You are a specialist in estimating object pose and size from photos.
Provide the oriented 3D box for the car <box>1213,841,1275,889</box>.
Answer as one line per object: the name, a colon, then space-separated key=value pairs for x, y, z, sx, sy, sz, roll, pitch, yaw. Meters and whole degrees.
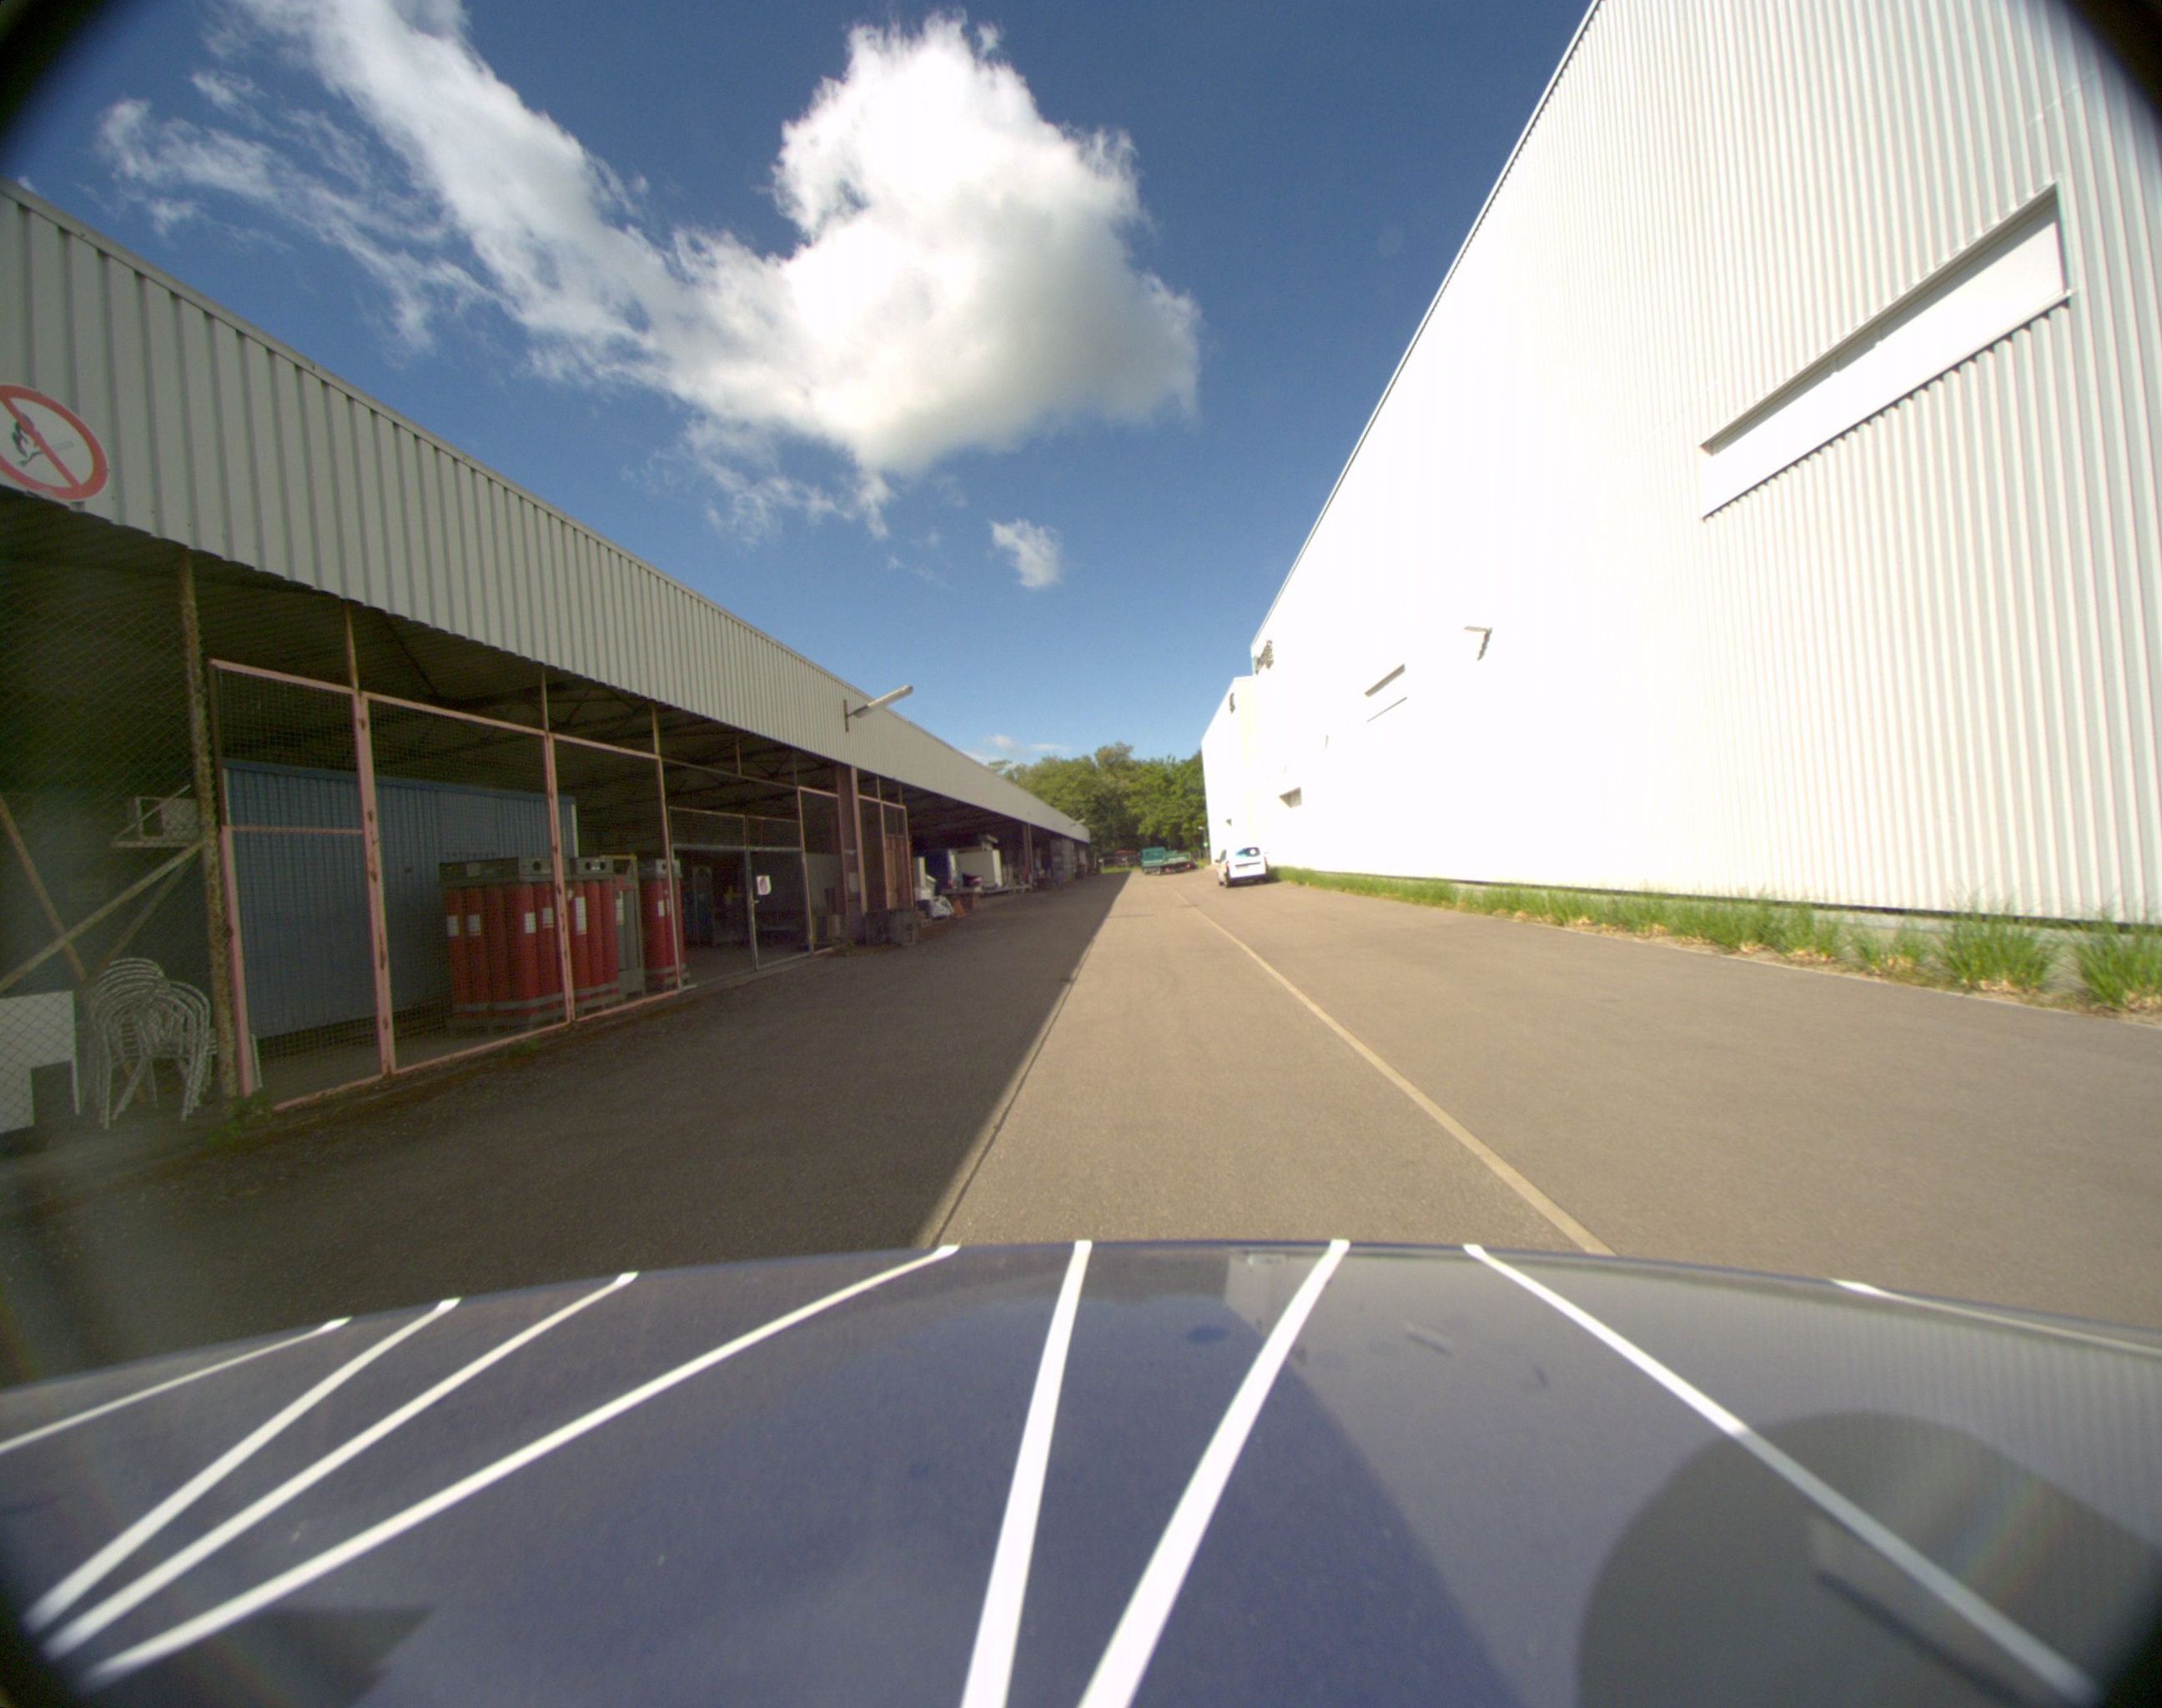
car: x=7.120 y=0.453 z=33.643 sx=1.933 sy=1.779 sz=4.599 roll=-6 pitch=-1 yaw=4

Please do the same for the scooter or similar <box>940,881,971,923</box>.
scooter or similar: x=-3.867 y=1.462 z=23.463 sx=0.521 sy=1.128 sz=1.592 roll=-4 pitch=1 yaw=4

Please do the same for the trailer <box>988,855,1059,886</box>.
trailer: x=-4.221 y=1.224 z=56.506 sx=4.827 sy=1.985 sz=2.048 roll=-3 pitch=0 yaw=7

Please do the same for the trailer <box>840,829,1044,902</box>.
trailer: x=-7.371 y=0.639 z=40.922 sx=10.315 sy=3.276 sz=2.676 roll=-3 pitch=0 yaw=5

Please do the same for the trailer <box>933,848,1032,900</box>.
trailer: x=-4.899 y=0.988 z=38.212 sx=4.551 sy=2.321 sz=1.689 roll=-3 pitch=0 yaw=5

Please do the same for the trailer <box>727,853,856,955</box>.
trailer: x=-6.848 y=1.092 z=18.352 sx=1.581 sy=2.130 sz=3.522 roll=-3 pitch=0 yaw=2

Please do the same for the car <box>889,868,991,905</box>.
car: x=-6.566 y=1.492 z=35.734 sx=4.354 sy=1.425 sz=1.865 roll=-3 pitch=0 yaw=1

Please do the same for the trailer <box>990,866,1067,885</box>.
trailer: x=-4.095 y=1.688 z=59.844 sx=5.747 sy=1.126 sz=2.009 roll=-4 pitch=0 yaw=3

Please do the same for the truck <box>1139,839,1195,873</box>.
truck: x=7.885 y=0.305 z=71.462 sx=2.589 sy=2.700 sz=9.690 roll=-7 pitch=-1 yaw=-8

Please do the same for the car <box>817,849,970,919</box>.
car: x=-7.186 y=1.127 z=29.500 sx=5.228 sy=2.284 sz=2.084 roll=-4 pitch=0 yaw=3

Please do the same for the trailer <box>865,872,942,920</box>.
trailer: x=-6.237 y=1.453 z=26.822 sx=2.098 sy=1.454 sz=1.642 roll=-4 pitch=1 yaw=7
